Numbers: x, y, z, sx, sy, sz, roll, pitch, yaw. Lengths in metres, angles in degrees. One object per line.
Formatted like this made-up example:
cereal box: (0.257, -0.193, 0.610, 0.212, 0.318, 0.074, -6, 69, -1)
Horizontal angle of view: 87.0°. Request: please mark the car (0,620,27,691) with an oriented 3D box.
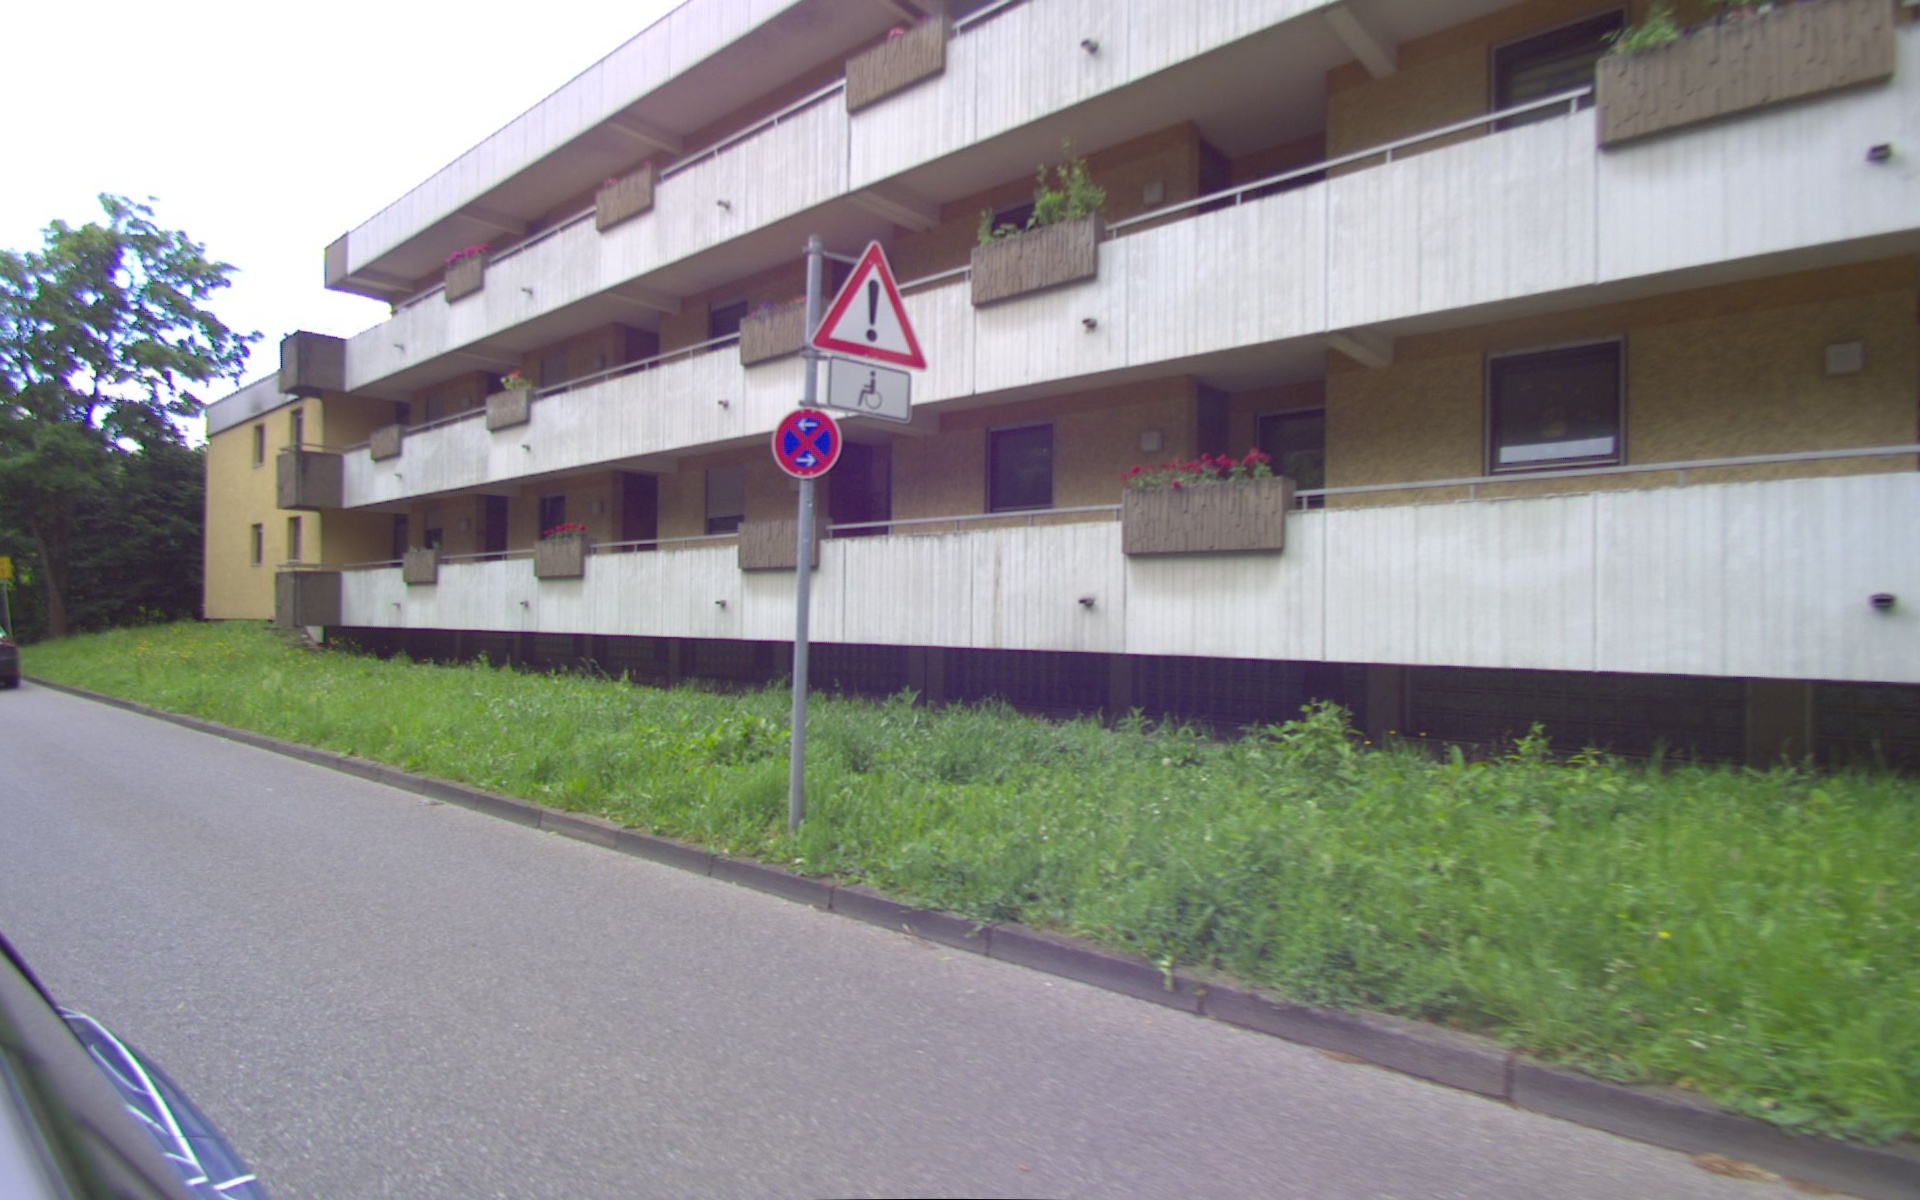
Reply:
car: (-21.447, 1.152, 21.486, 4.420, 1.422, 1.894, -1, -1, 40)
